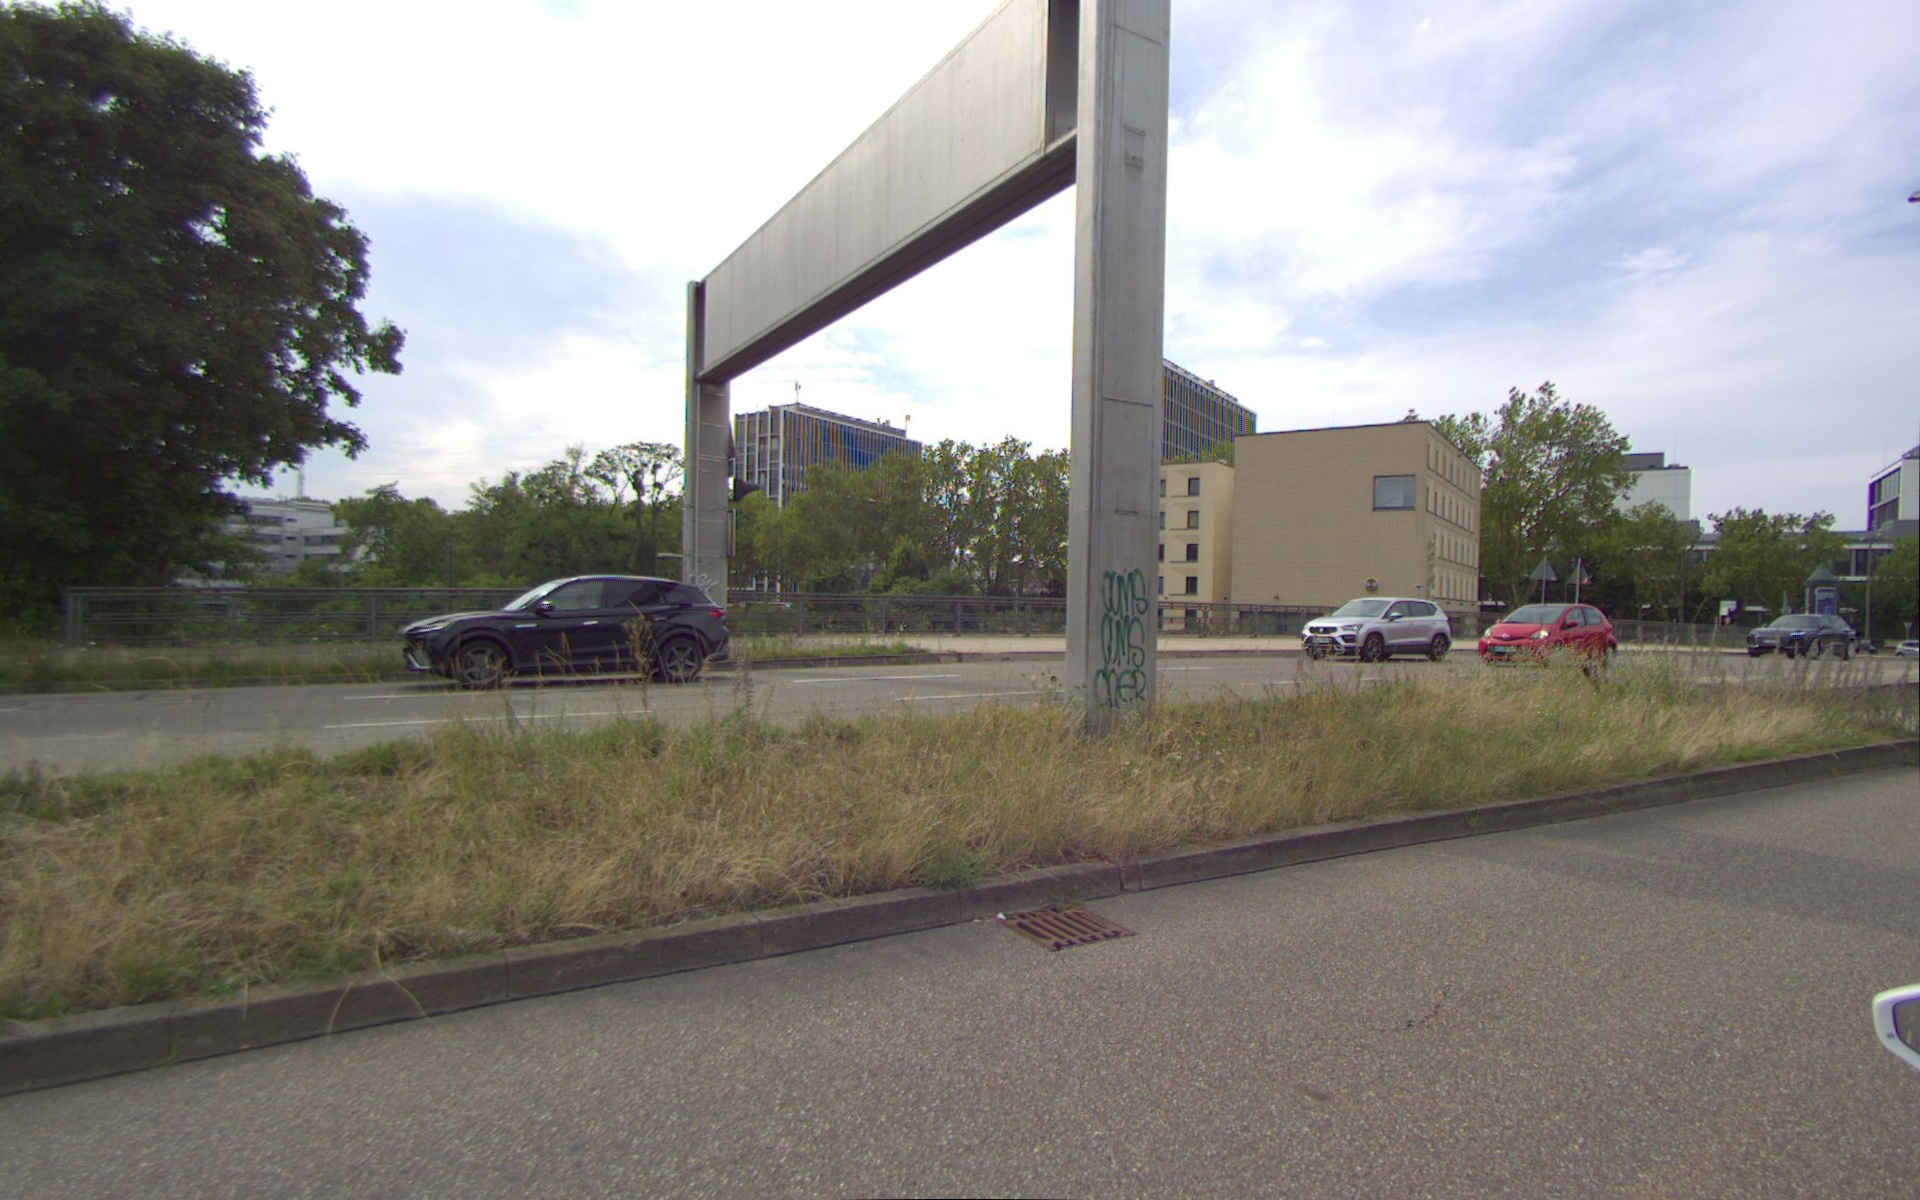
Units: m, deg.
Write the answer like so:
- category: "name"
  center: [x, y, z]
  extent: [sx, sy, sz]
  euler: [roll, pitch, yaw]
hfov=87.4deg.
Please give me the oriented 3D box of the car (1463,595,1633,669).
- category: "car"
  center: [13.559, 0.732, 23.125]
  extent: [3.873, 1.552, 1.714]
  euler: [2, 0, -31]

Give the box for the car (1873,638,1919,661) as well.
- category: "car"
  center: [68.093, 3.507, 71.242]
  extent: [1.889, 1.547, 4.877]
  euler: [1, -1, -6]

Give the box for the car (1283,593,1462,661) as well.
- category: "car"
  center: [10.309, 0.670, 25.048]
  extent: [4.402, 1.552, 1.877]
  euler: [2, 0, -31]

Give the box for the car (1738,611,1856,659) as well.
- category: "car"
  center: [31.010, 1.305, 37.176]
  extent: [4.491, 1.662, 1.878]
  euler: [2, 0, -29]

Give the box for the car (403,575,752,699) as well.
- category: "car"
  center: [-5.727, 0.453, 15.235]
  extent: [4.704, 1.629, 1.877]
  euler: [-1, 1, -31]
